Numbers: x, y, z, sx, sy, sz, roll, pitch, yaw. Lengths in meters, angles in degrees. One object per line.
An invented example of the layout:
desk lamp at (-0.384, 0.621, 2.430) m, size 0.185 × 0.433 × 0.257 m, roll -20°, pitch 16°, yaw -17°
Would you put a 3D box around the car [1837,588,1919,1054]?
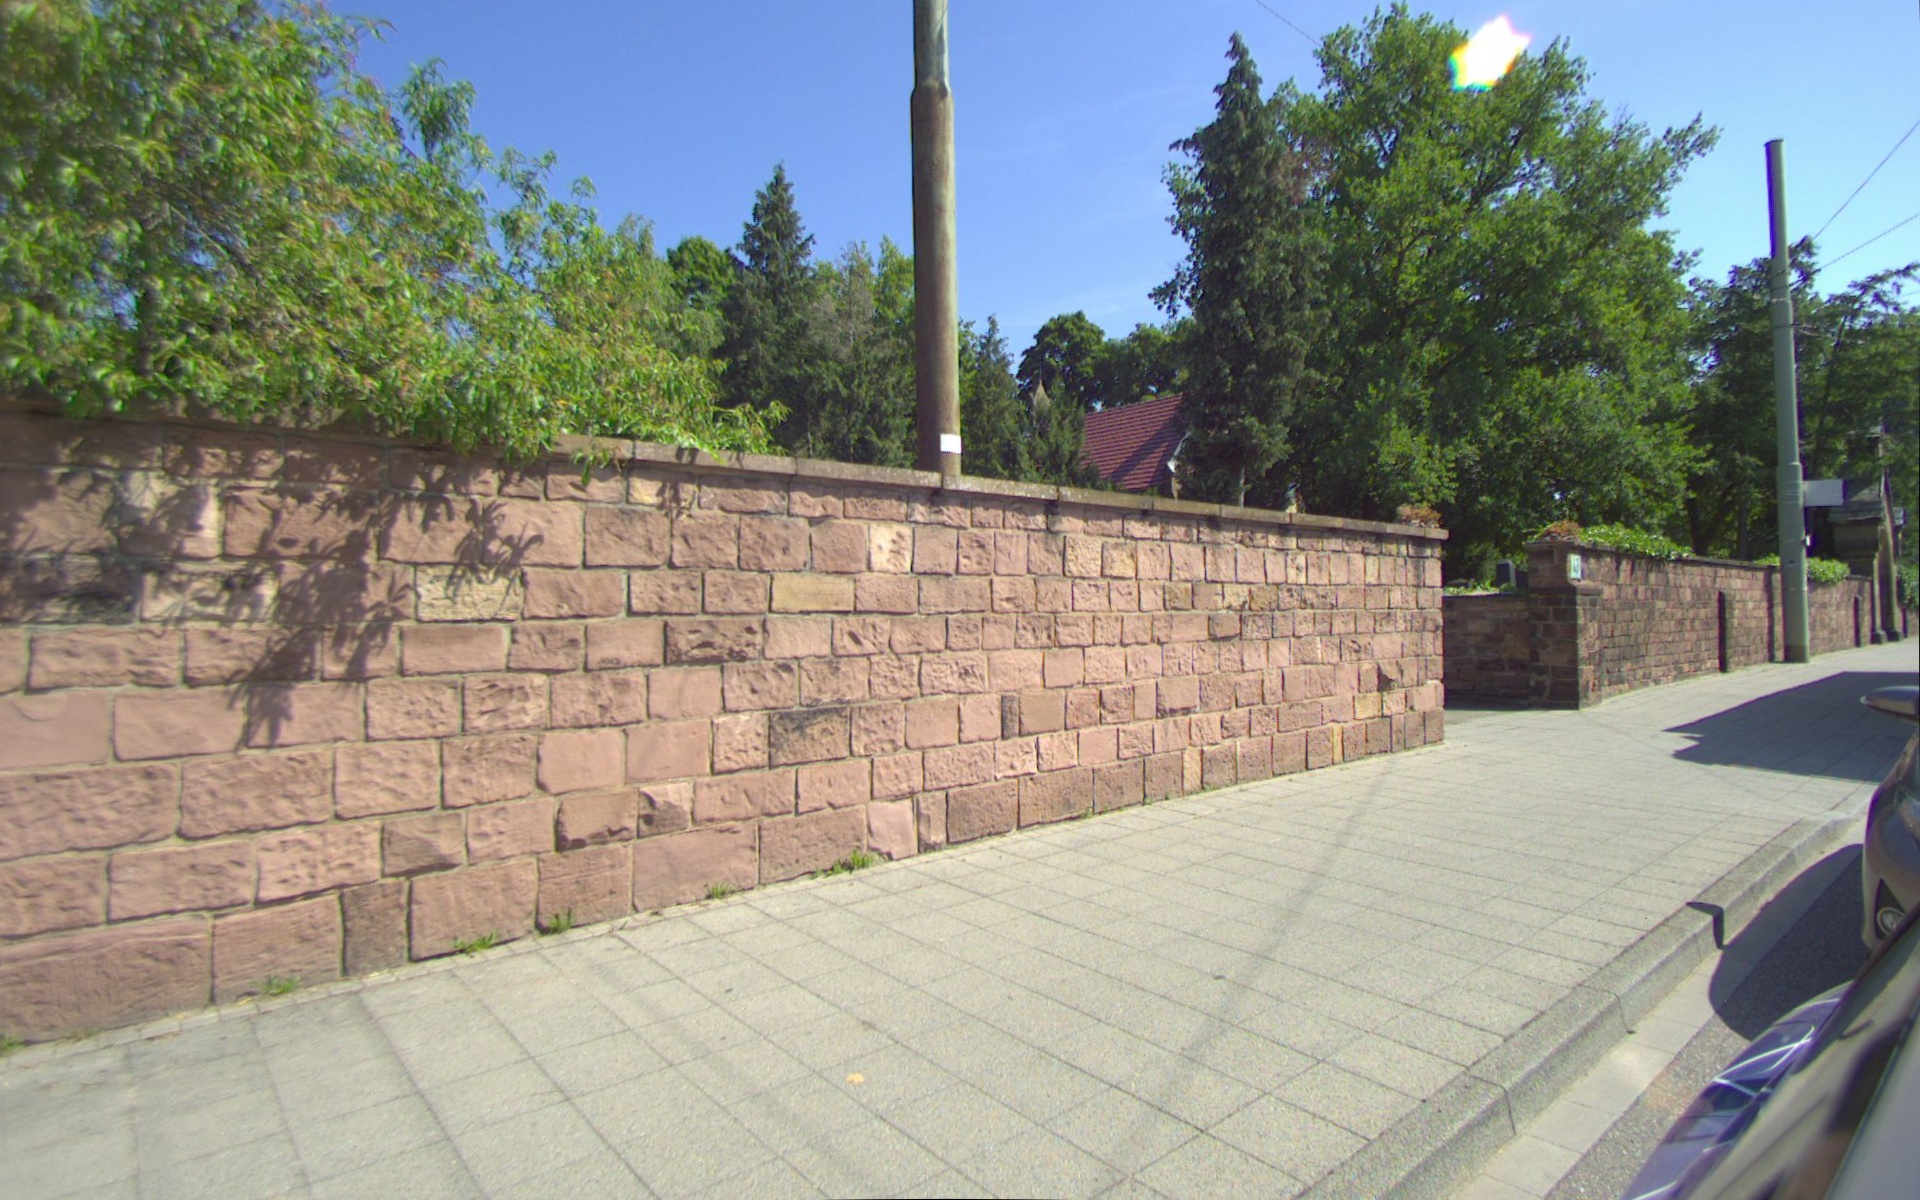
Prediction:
car at (5.088, 0.665, 4.060) m, size 4.384 × 1.451 × 1.741 m, roll 0°, pitch -1°, yaw -41°
